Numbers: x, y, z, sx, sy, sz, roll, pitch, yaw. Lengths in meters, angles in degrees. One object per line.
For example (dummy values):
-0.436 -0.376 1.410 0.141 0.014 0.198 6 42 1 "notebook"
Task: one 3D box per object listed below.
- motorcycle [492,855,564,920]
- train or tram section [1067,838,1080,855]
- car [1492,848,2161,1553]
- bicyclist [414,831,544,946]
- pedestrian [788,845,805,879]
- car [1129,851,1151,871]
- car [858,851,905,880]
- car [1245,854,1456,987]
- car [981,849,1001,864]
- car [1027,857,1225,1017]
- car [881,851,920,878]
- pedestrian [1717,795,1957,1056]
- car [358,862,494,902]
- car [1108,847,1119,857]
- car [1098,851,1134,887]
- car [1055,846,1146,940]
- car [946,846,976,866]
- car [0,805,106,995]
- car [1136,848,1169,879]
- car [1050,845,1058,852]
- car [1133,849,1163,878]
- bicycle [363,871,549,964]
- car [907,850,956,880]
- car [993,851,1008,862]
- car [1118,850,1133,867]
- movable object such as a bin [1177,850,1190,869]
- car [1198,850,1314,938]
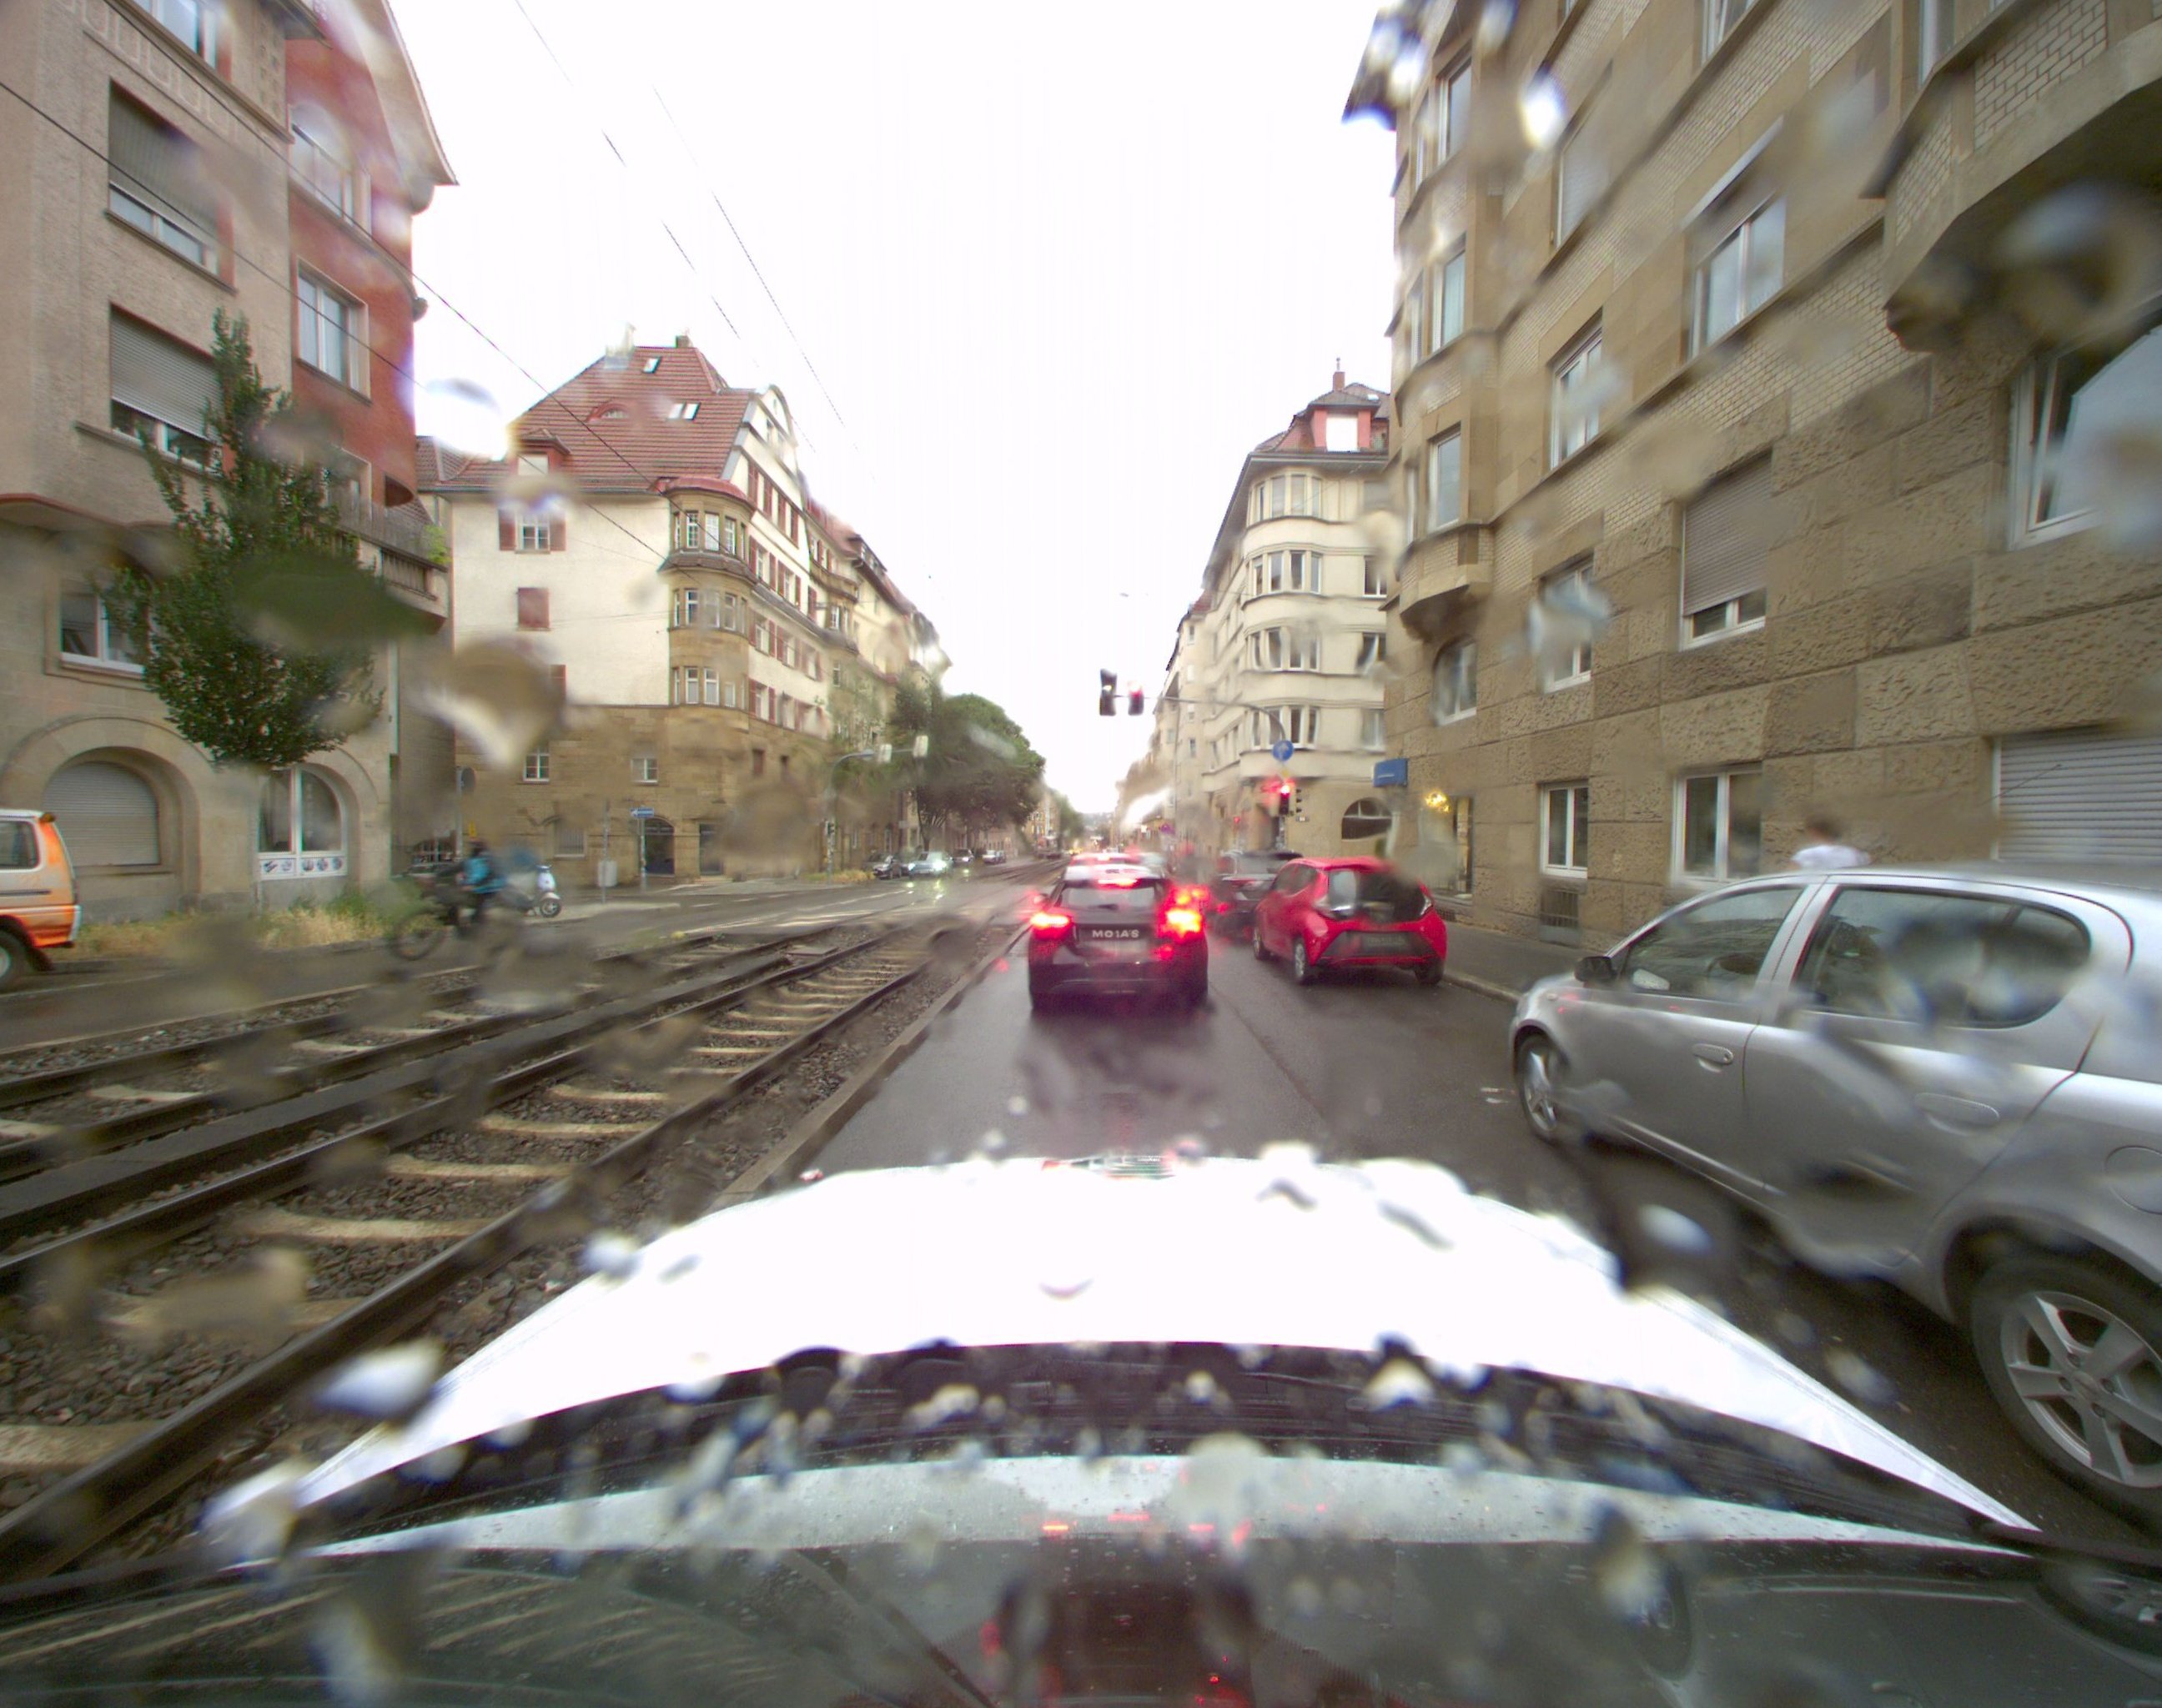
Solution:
-12.059 0.717 17.762 1.577 1.365 0.628 -1 -1 28 "motorcycle"
-1.708 -1.833 197.648 2.772 3.861 10.433 -1 -1 2 "train or tram section"
3.156 0.733 3.097 1.608 1.467 3.314 -2 0 3 "car"
-8.858 0.482 12.031 0.878 1.597 1.258 -1 -1 15 "bicyclist"
-14.206 0.387 40.700 0.630 1.672 0.701 0 -1 -5 "pedestrian"
4.420 0.517 61.580 1.539 1.486 3.549 0 0 2 "car"
-11.249 0.643 46.113 1.747 1.552 4.033 0 -1 -2 "car"
3.286 0.726 10.562 1.637 1.448 3.298 0 0 -1 "car"
-9.864 0.308 89.593 1.583 1.581 3.920 -1 -1 2 "car"
0.475 0.775 9.560 1.822 1.458 4.105 0 0 2 "car"
-11.280 0.649 51.148 1.713 1.611 3.914 0 -1 -3 "car"
5.528 0.486 6.044 0.739 1.748 1.111 0 -1 2 "pedestrian"
-24.376 1.027 30.403 3.633 1.404 1.699 0 -1 -3 "car"
6.073 -0.345 150.269 1.986 1.876 4.001 -1 -1 2 "car"
1.649 0.672 39.136 1.540 1.636 3.685 0 0 0 "car"
0.401 0.694 15.956 1.559 1.609 3.815 -1 -1 2 "car"
-10.592 0.216 72.135 1.868 1.737 3.920 -1 -1 2 "car"
-12.113 0.475 7.206 1.725 1.975 4.341 0 -1 0 "car"
3.707 0.472 42.698 1.539 1.590 3.549 0 0 2 "car"
-5.221 -1.081 157.675 1.372 1.249 3.297 0 -1 0 "car"
3.848 0.515 47.173 1.539 1.590 3.549 0 0 2 "car"
-8.929 0.858 11.768 0.817 1.186 2.045 -1 -1 16 "bicycle"
-8.264 0.582 45.427 1.891 1.588 3.974 -1 -1 2 "car"
-9.795 0.294 99.009 1.443 1.331 3.271 0 -1 0 "car"
4.030 0.392 73.671 1.289 1.442 2.930 0 0 2 "car"
7.479 0.408 59.553 0.873 1.389 0.984 -1 -1 5 "movable object such as a bin"
3.252 0.680 15.807 1.539 1.486 3.831 0 0 2 "car"
